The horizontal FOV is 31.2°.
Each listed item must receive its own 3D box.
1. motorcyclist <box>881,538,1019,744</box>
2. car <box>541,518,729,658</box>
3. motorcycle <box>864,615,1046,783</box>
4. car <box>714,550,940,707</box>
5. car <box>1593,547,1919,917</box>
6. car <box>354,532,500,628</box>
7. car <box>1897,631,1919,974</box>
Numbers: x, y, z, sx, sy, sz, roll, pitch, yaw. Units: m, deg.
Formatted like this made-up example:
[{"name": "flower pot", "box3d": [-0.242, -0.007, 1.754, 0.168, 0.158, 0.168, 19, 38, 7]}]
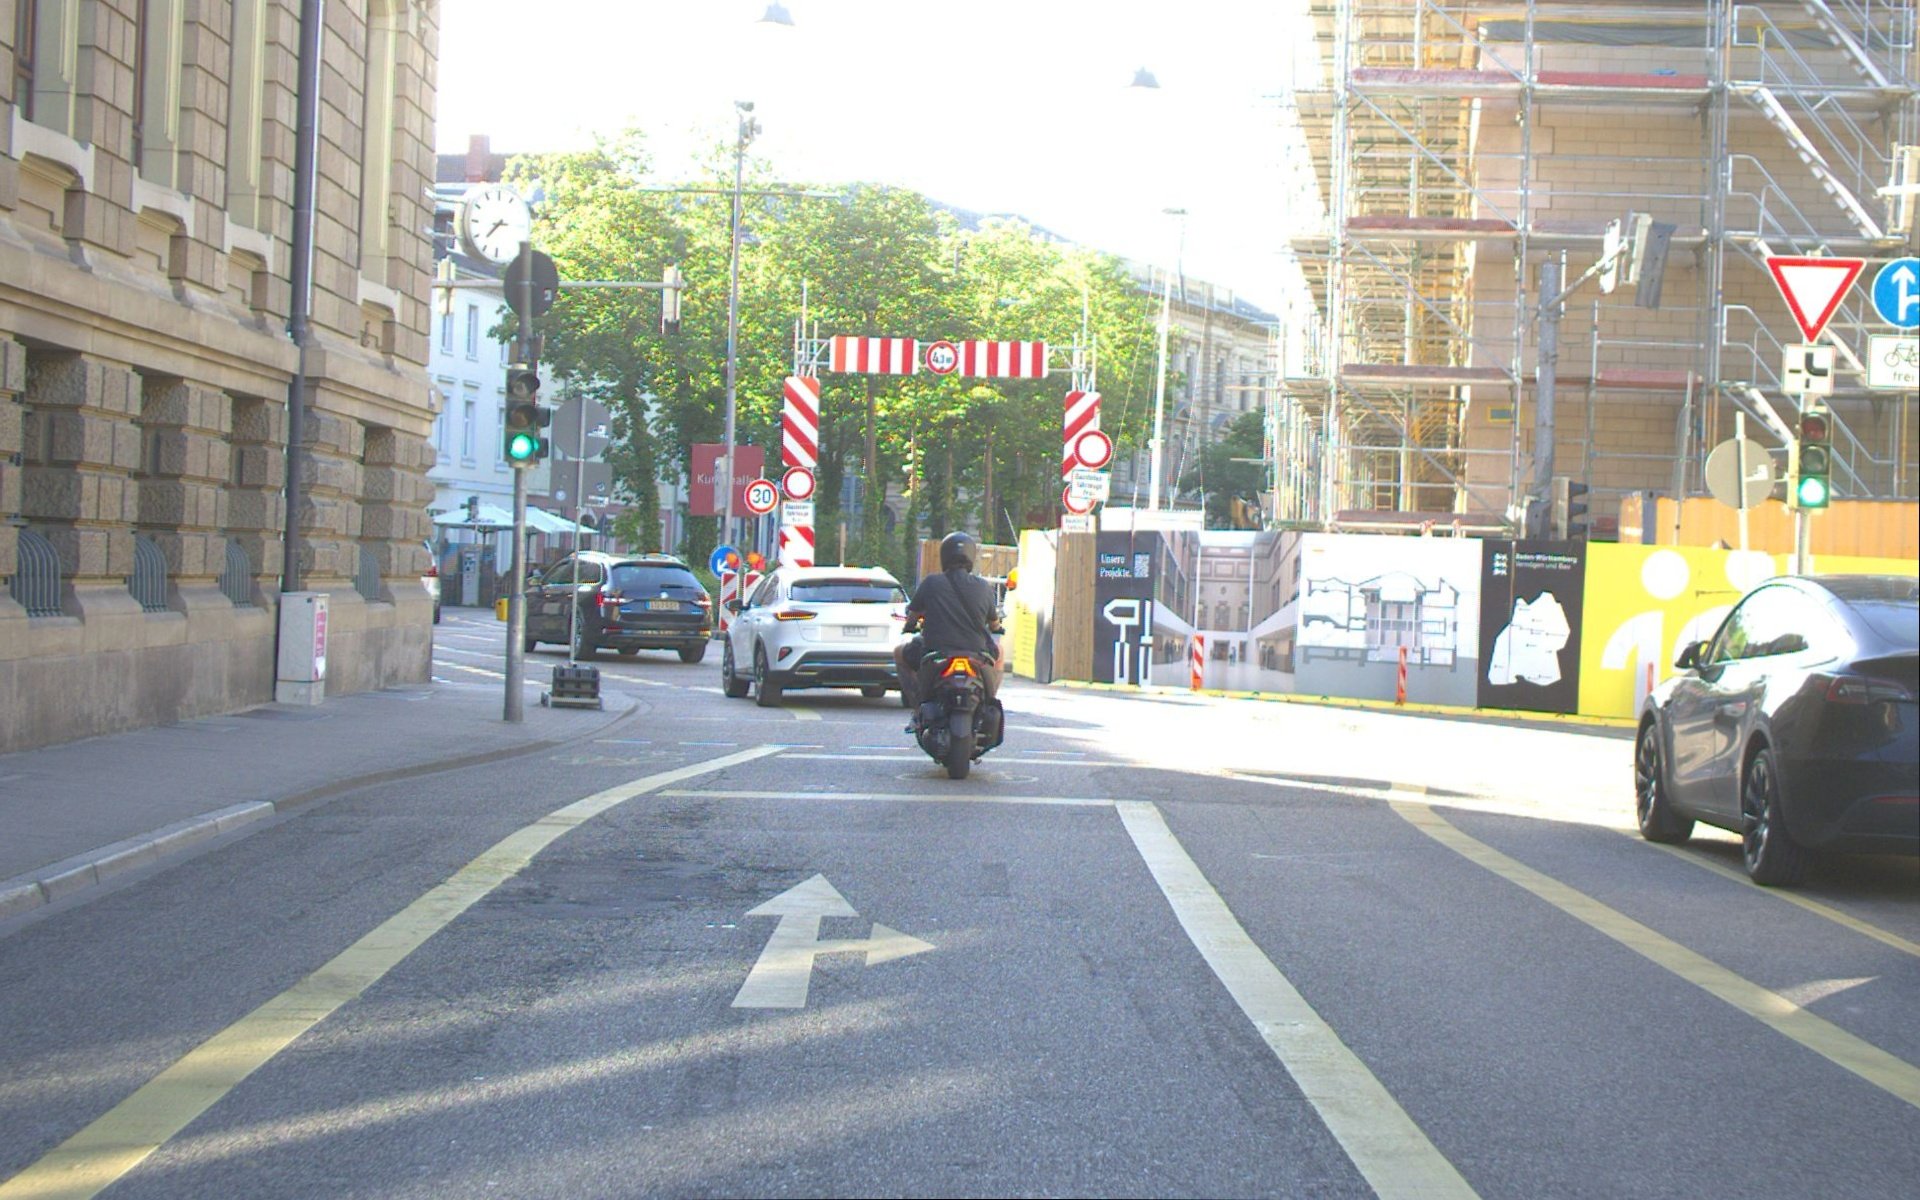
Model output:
[{"name": "motorcyclist", "box3d": [-0.075, 0.290, 24.210, 0.867, 1.422, 0.456, 1, 0, -12]}, {"name": "car", "box3d": [-4.574, -0.163, 47.937, 1.830, 1.831, 4.001, 1, 0, -17]}, {"name": "motorcycle", "box3d": [-0.055, 0.671, 24.038, 0.872, 1.105, 1.840, 1, 0, -13]}, {"name": "car", "box3d": [-1.521, 0.269, 37.610, 1.822, 1.536, 4.265, 2, 0, -10]}, {"name": "car", "box3d": [4.911, 0.634, 18.911, 1.824, 1.693, 4.667, 3, 1, -1]}, {"name": "car", "box3d": [-10.206, -0.418, 65.617, 1.993, 1.659, 4.360, -1, 2, -19]}, {"name": "car", "box3d": [4.783, 0.865, 12.065, 1.825, 1.394, 4.479, 3, 0, 2]}]
